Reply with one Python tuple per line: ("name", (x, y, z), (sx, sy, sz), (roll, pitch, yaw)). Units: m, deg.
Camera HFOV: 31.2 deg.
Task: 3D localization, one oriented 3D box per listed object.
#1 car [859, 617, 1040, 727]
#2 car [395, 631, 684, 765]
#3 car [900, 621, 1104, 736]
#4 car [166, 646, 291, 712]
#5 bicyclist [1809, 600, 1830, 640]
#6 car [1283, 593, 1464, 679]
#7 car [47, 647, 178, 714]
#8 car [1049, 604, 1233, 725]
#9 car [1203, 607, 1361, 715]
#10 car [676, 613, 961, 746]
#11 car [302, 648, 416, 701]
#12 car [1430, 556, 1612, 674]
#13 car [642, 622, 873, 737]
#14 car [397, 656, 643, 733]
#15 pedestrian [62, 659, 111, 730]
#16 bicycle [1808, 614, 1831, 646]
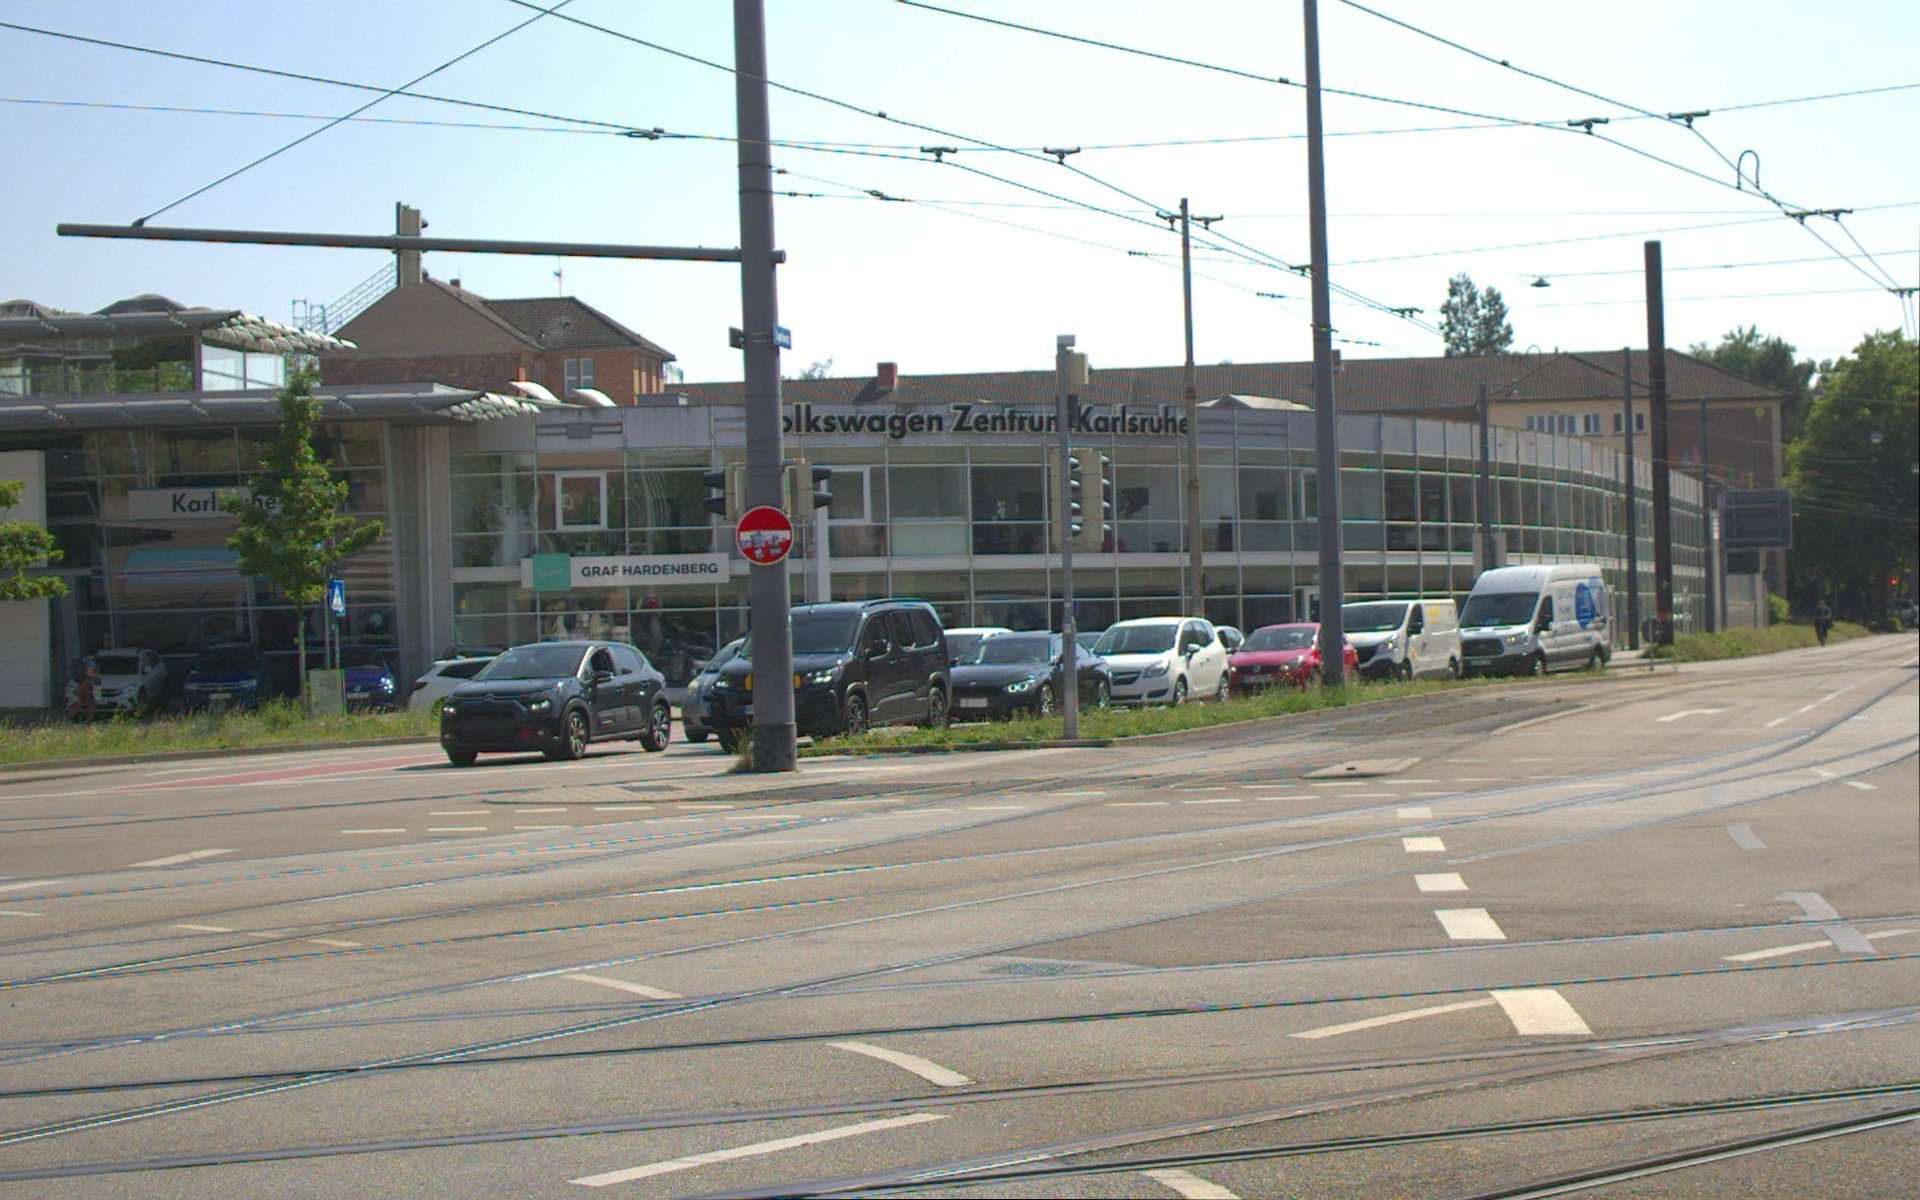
("car", (-0.132, 1.212, 57.512), (1.653, 1.733, 4.196), (-2, -2, 20))
("car", (-5.256, 1.233, 43.555), (1.893, 1.582, 4.205), (-2, -2, 20))
("car", (0.669, 1.163, 50.480), (1.896, 1.582, 3.996), (-2, -2, 17))
("car", (-17.159, 1.843, 80.822), (1.993, 1.481, 4.000), (0, -1, 2))
("bicyclist", (33.573, 0.784, 134.284), (0.752, 1.562, 1.086), (0, -1, 17))
("car", (8.620, 0.730, 71.285), (2.188, 1.675, 5.022), (-2, -1, 26))
("car", (-19.938, 1.876, 81.018), (1.993, 1.481, 4.000), (-1, 0, 2))
("car", (3.079, 1.099, 57.640), (1.896, 1.910, 4.196), (-2, -2, 20))
("car", (6.061, 1.160, 64.369), (1.896, 1.910, 4.196), (-2, -2, 20))
("car", (-1.734, 1.025, 44.067), (1.963, 1.582, 4.711), (-2, -2, 20))
("car", (-13.995, 1.730, 80.242), (1.830, 1.191, 3.999), (1, -1, 2))
("car", (12.845, 0.385, 78.368), (2.212, 2.567, 5.865), (0, -1, 29))
("car", (-2.915, 1.167, 50.346), (1.896, 1.582, 3.995), (-2, -2, 20))
("car", (-8.634, 1.846, 67.420), (4.588, 1.431, 1.443), (0, -1, 17))
("pedestrian", (-19.622, 2.115, 77.229), (0.953, 1.575, 0.534), (1, -1, 0))
("bicycle", (33.576, 1.185, 134.291), (0.752, 1.190, 2.836), (0, -1, 17))
